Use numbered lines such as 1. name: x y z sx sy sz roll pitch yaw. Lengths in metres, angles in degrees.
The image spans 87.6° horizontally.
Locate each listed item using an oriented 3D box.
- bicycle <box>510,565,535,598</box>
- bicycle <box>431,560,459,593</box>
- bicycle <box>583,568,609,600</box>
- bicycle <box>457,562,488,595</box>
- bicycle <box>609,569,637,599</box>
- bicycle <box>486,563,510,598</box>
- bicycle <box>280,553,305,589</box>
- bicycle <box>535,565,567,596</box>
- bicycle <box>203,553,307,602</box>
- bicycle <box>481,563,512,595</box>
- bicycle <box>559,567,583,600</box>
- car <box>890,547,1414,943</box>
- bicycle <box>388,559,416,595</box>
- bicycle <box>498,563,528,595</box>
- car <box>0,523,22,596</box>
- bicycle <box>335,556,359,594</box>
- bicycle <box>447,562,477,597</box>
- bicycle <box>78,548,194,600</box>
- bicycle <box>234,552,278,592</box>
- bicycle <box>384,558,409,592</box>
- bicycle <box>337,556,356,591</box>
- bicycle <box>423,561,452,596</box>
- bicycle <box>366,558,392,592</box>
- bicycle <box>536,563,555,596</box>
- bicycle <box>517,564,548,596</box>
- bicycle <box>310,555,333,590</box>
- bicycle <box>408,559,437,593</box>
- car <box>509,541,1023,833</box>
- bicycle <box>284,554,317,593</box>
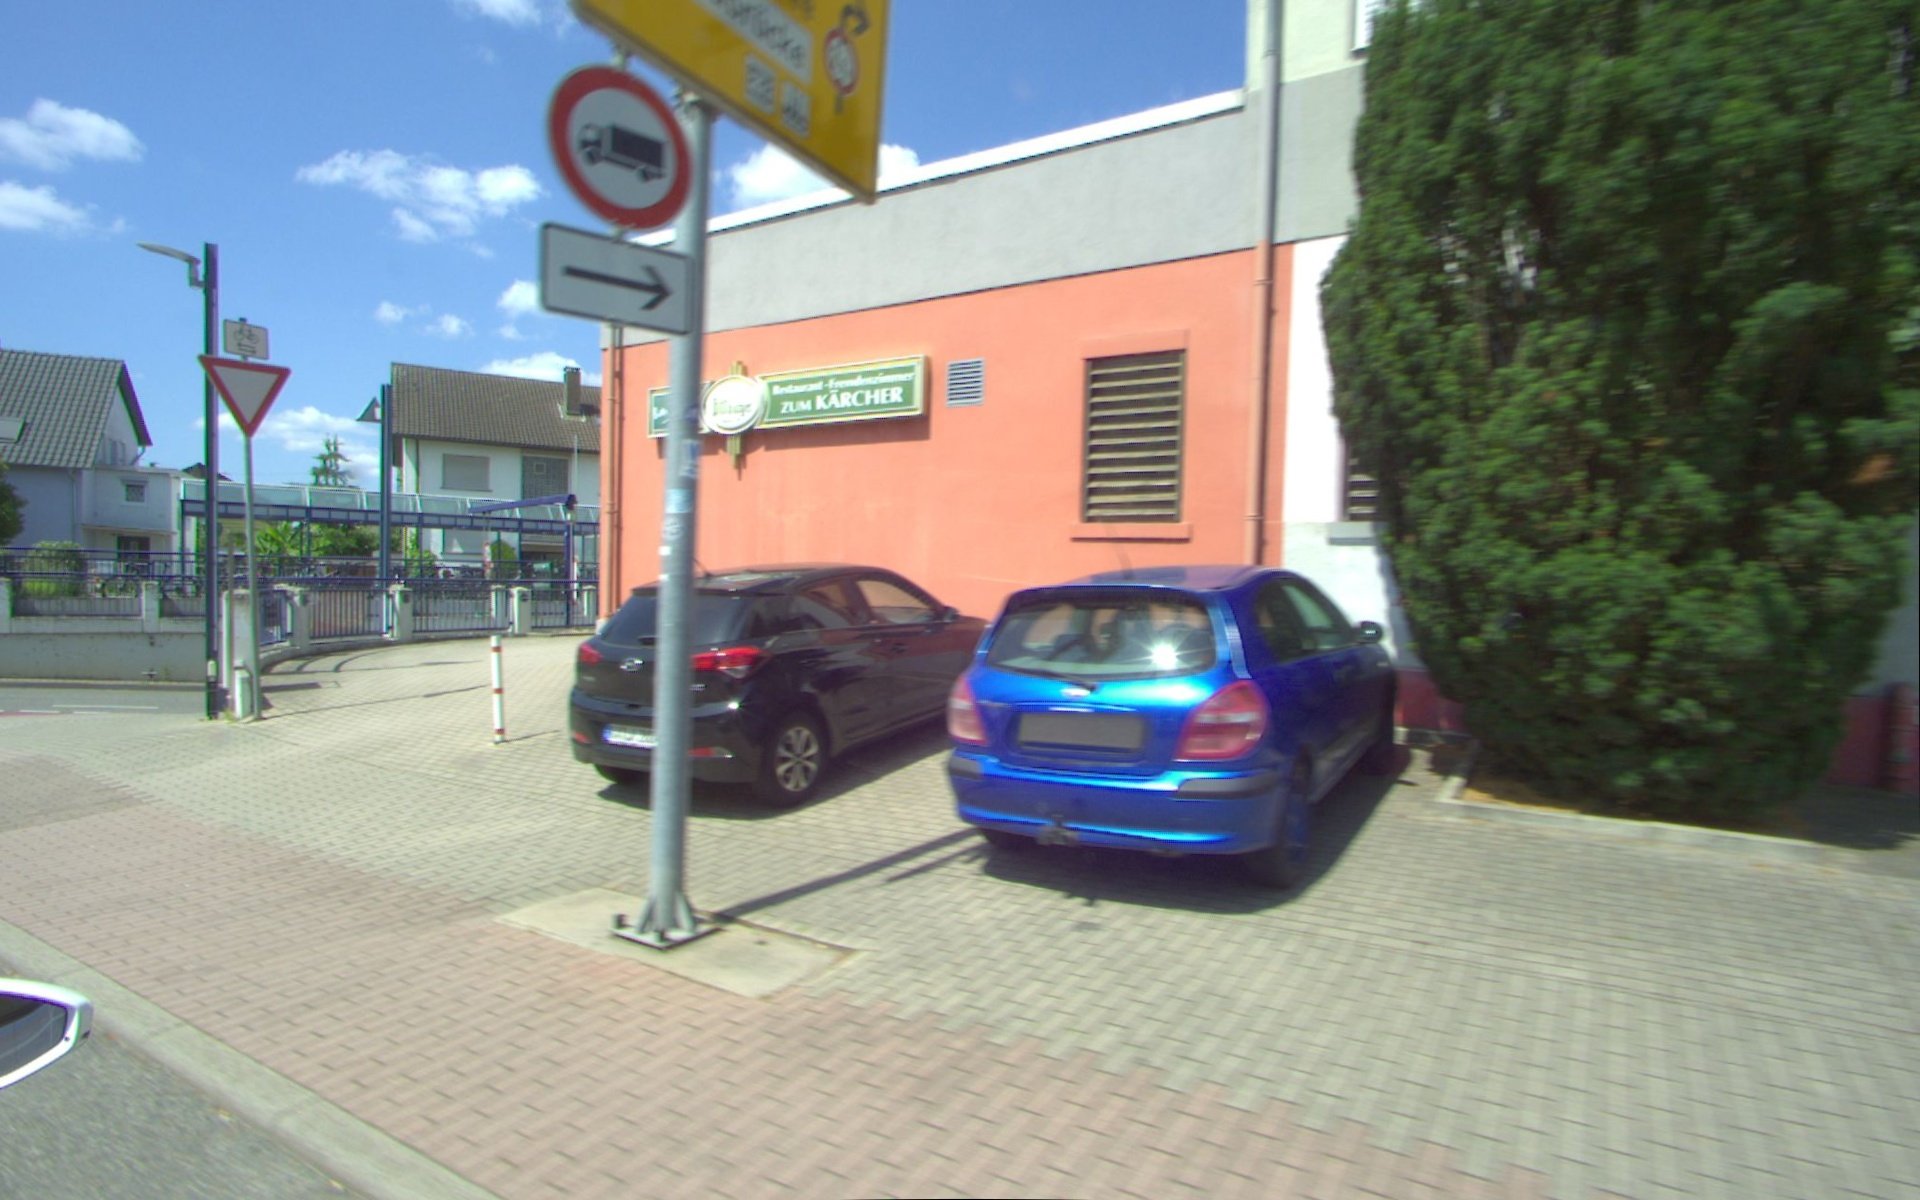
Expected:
1. bicycle: -13.754 -0.596 31.469 0.510 1.008 2.028 2 1 -29
2. bicycle: -16.464 -0.745 31.997 0.514 1.008 1.787 1 1 -36
3. bicycle: -11.907 -0.536 32.735 0.537 1.008 2.029 2 1 -27
4. bicycle: -15.671 -0.715 32.166 0.514 1.008 1.950 1 1 -36
5. bicycle: -11.847 -0.560 35.168 0.538 1.008 2.027 1 1 -30
6. bicycle: -14.169 -0.605 30.753 0.571 1.008 2.180 2 1 -23
7. bicycle: -19.748 -0.851 29.635 0.368 1.008 1.956 2 1 -27
8. bicycle: -13.836 -0.659 33.857 0.514 1.008 1.950 1 1 -36
9. bicycle: -17.675 -0.553 25.143 2.097 1.141 0.389 2 1 -38
10. bicycle: -15.130 -0.699 32.662 0.514 1.008 1.950 1 1 -36
11. bicycle: -12.536 -0.555 32.219 0.509 1.008 2.029 2 1 -27
12. car: 1.550 0.475 6.145 1.754 1.460 4.311 0 4 31
13. bicycle: -16.321 -0.676 29.259 0.527 1.008 2.265 1 1 -34
14. bicycle: -14.833 -0.693 33.204 0.514 1.008 1.950 1 1 -36
15. car: -24.642 -1.101 24.154 1.974 1.819 4.173 5 -3 -31
16. bicycle: -17.470 -0.714 28.569 0.430 1.008 2.269 2 1 -28
17. bicycle: -15.232 -0.646 30.582 0.527 1.008 2.172 1 1 -34
18. bicycle: -19.479 -0.610 23.736 2.097 1.141 0.330 2 1 -38
19. bicycle: -18.958 -0.757 26.990 0.429 1.008 2.095 2 1 -20
20. bicycle: -17.481 -0.776 31.051 0.410 1.008 1.950 1 1 -36
21. bicycle: -18.623 -0.814 30.393 0.422 1.008 1.952 1 1 -33
22. bicycle: -15.653 -0.657 29.991 0.527 1.008 2.172 1 1 -34
23. bicycle: -17.869 -0.788 30.781 0.469 1.008 1.950 1 1 -36
24. bicycle: -13.214 -0.660 31.911 0.509 1.008 2.031 2 1 -24
25. bicycle: -14.321 -0.676 33.533 0.514 1.008 1.950 1 1 -36
26. bicycle: -19.051 -0.826 29.897 0.368 1.008 1.956 2 1 -27
27. bicycle: -16.928 -0.758 31.498 0.514 1.008 1.950 1 1 -36
28. car: -1.186 0.398 7.836 1.783 1.512 3.884 1 6 30
29. bicycle: -18.230 -0.736 27.724 0.430 1.008 2.093 2 1 -25
